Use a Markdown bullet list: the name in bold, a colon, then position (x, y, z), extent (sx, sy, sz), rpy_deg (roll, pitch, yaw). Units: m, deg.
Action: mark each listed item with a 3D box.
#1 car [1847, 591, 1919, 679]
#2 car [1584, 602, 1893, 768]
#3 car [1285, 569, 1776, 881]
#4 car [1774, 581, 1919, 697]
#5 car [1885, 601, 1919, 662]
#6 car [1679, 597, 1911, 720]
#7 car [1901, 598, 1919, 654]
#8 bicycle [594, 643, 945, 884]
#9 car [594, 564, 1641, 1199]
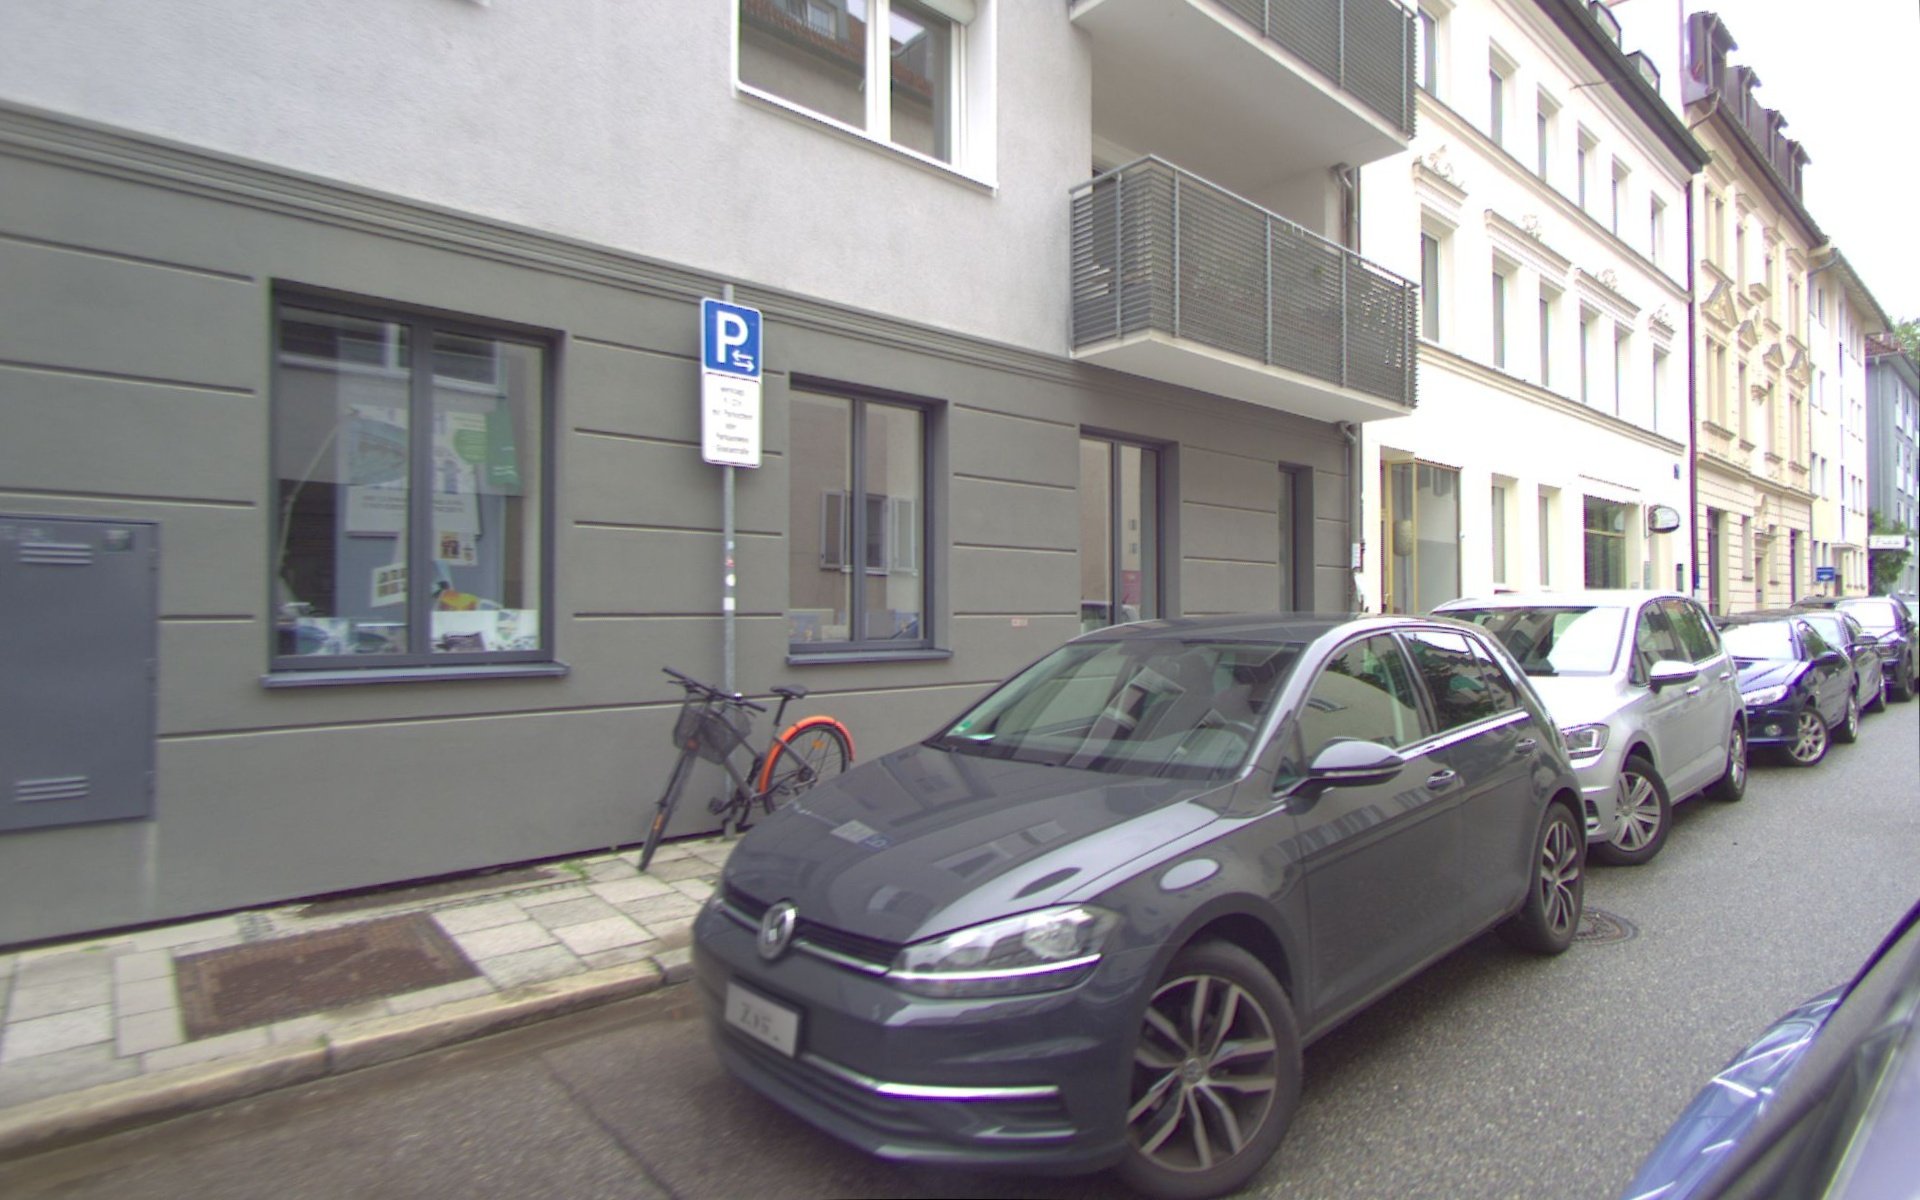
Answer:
- **car**: position (19.393, 0.655, 20.375), extent (4.603, 1.627, 1.704), rpy_deg (0, -1, -41)
- **car**: position (8.220, 0.729, 10.575), extent (3.875, 1.380, 1.811), rpy_deg (0, 0, -40)
- **car**: position (4.292, 0.615, 7.297), extent (4.243, 1.590, 1.878), rpy_deg (0, 1, -43)
- **car**: position (15.117, 0.577, 16.851), extent (4.434, 1.682, 1.678), rpy_deg (0, -1, -41)
- **car**: position (23.899, 0.737, 24.567), extent (3.994, 1.411, 1.678), rpy_deg (0, -1, -41)
- **car**: position (11.402, 0.669, 13.718), extent (4.274, 1.403, 1.802), rpy_deg (0, 0, -42)
- **car**: position (27.617, 0.690, 28.169), extent (3.786, 1.511, 1.678), rpy_deg (0, -1, -41)
- **bicycle**: position (-1.021, 0.834, 5.806), extent (1.961, 1.105, 0.570), rpy_deg (0, 0, -40)
- **car**: position (0.988, 0.718, 3.997), extent (4.219, 1.548, 1.842), rpy_deg (0, -1, -42)
